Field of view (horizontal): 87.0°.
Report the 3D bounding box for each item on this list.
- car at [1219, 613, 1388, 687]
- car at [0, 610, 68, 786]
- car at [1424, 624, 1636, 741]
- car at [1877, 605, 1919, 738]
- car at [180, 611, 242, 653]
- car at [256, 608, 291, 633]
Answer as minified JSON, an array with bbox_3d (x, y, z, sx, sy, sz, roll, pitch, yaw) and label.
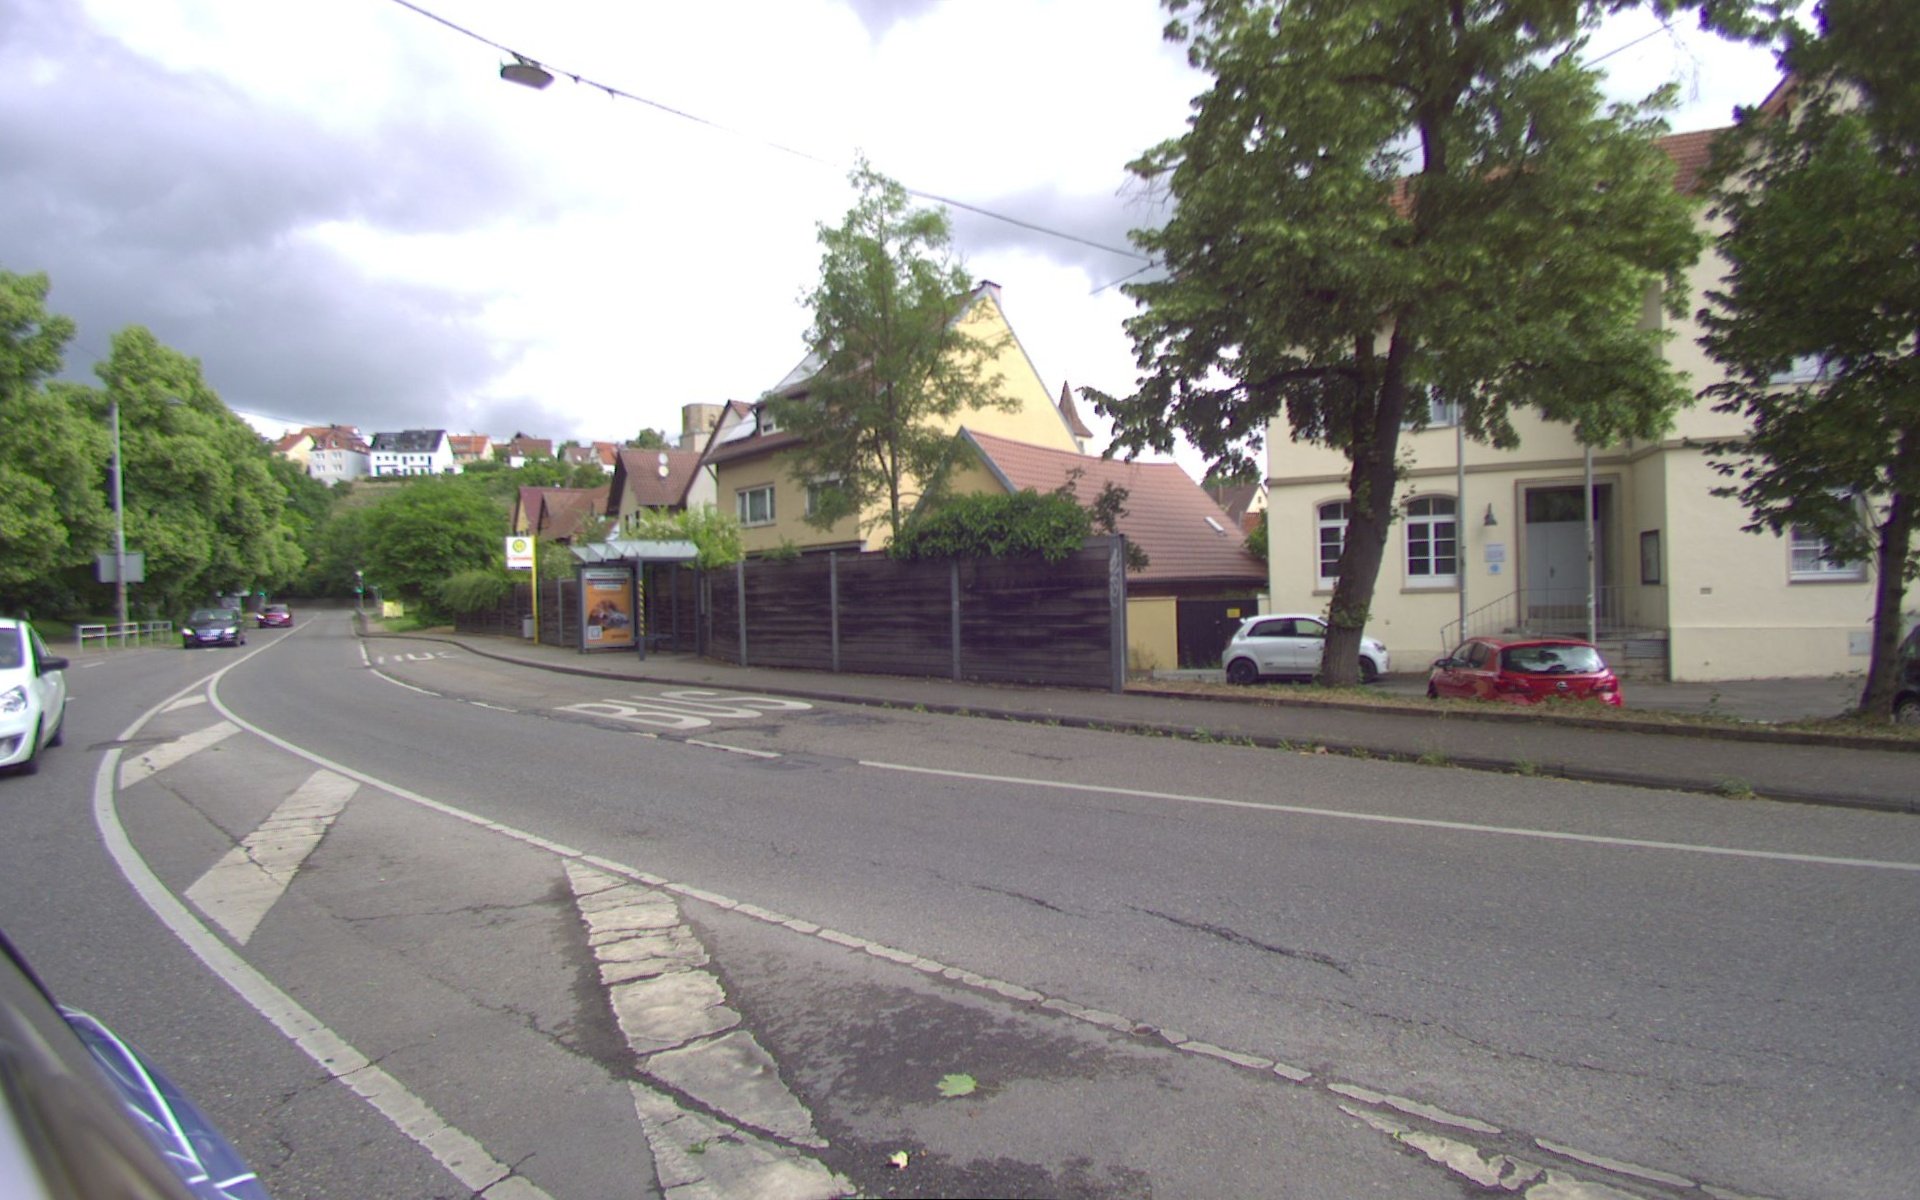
[{"bbox_3d":[7.741,1.107,22.930,3.487,1.528,1.581,-1,0,20],"label":"car"},{"bbox_3d":[-9.904,0.877,9.822,1.593,1.525,3.612,-1,0,-37],"label":"car"},{"bbox_3d":[8.121,1.103,14.774,1.590,1.389,3.544,-1,0,10],"label":"car"},{"bbox_3d":[12.694,0.887,11.592,1.586,1.644,3.093,-1,0,2],"label":"car"},{"bbox_3d":[-29.811,1.238,40.363,1.696,1.559,3.793,-1,0,-32],"label":"car"},{"bbox_3d":[-48.320,1.413,71.297,1.798,1.685,4.070,-1,0,-31],"label":"car"}]
